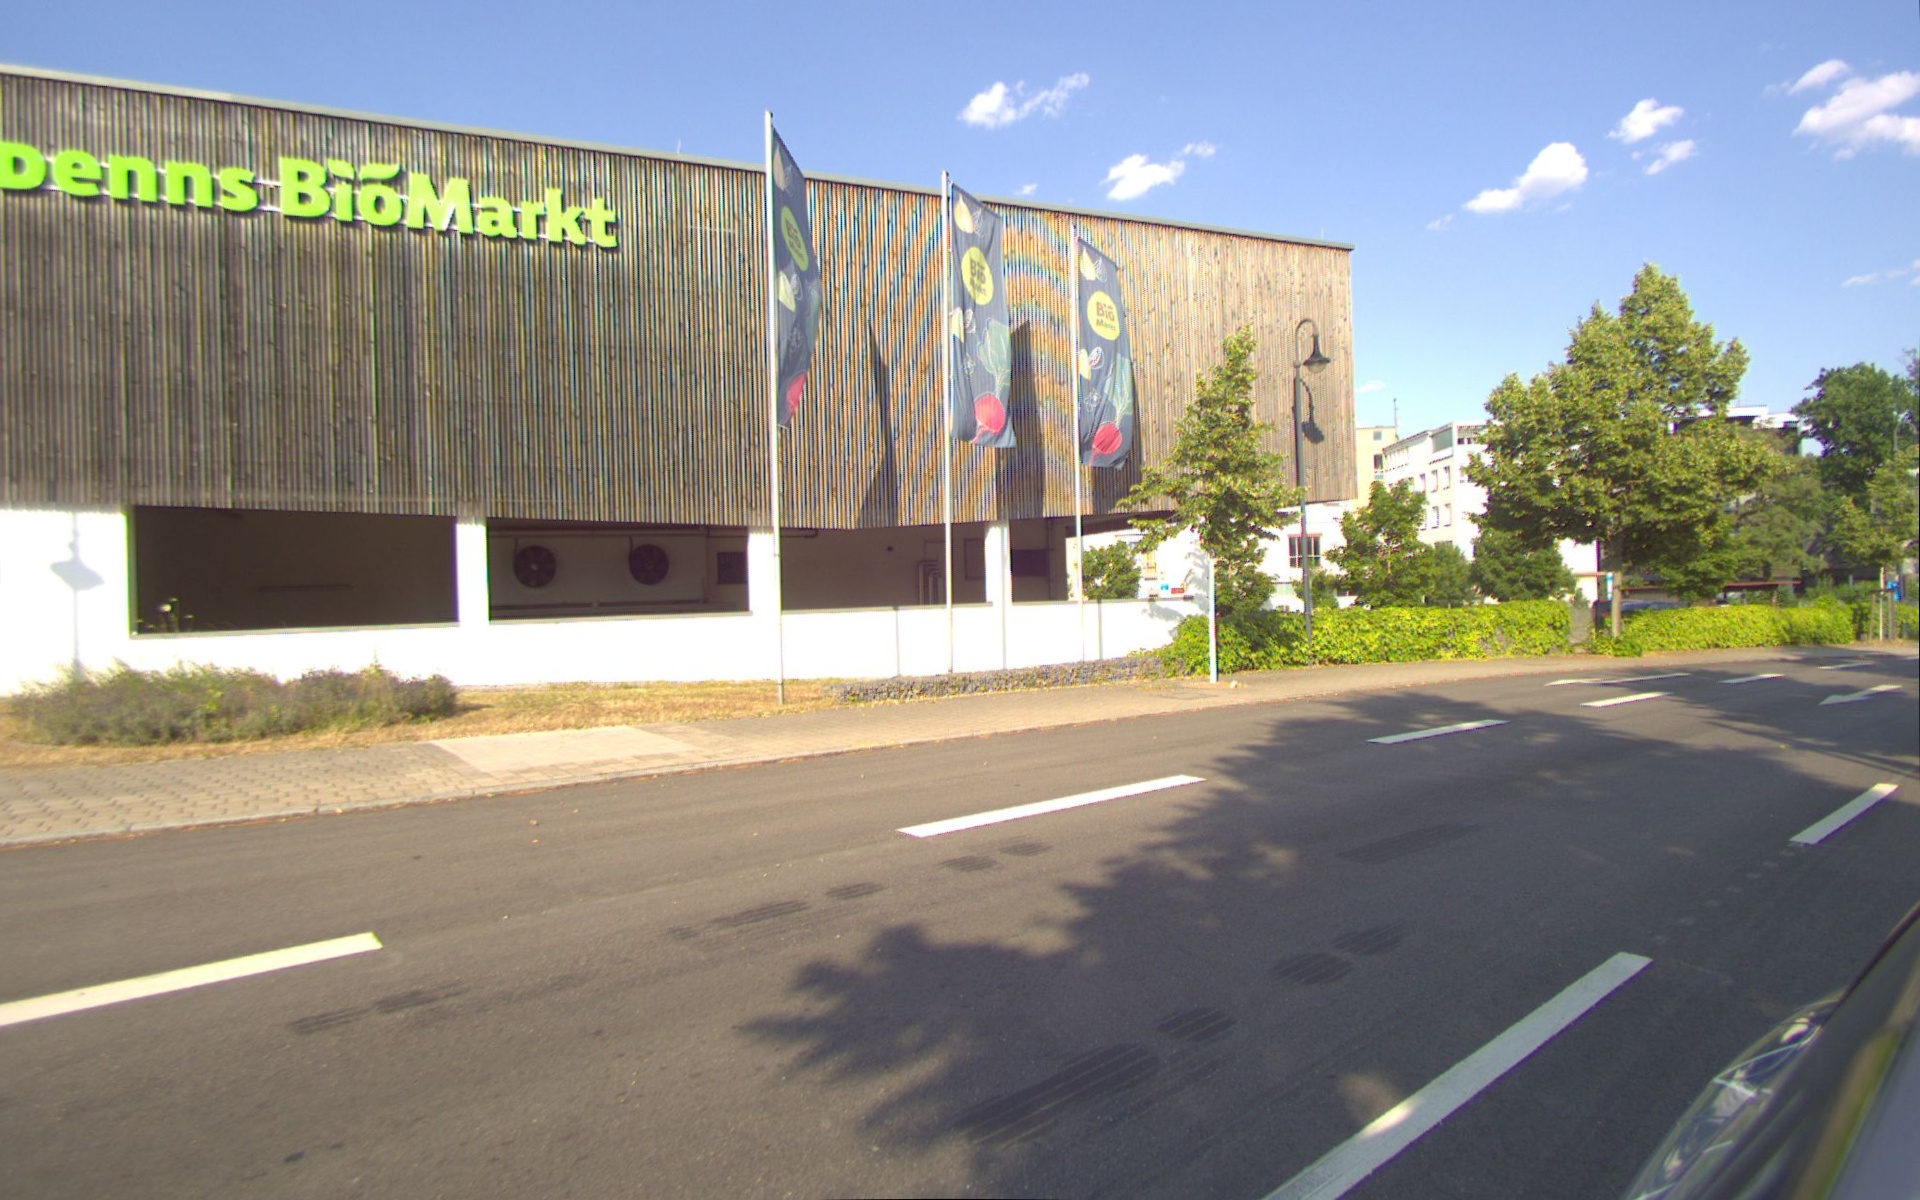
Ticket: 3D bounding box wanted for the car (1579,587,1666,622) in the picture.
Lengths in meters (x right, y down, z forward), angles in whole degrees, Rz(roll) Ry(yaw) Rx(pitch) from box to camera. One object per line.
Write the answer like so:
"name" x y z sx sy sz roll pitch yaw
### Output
"car" 37.218 0.243 56.866 4.551 1.878 2.003 -1 -1 -26
